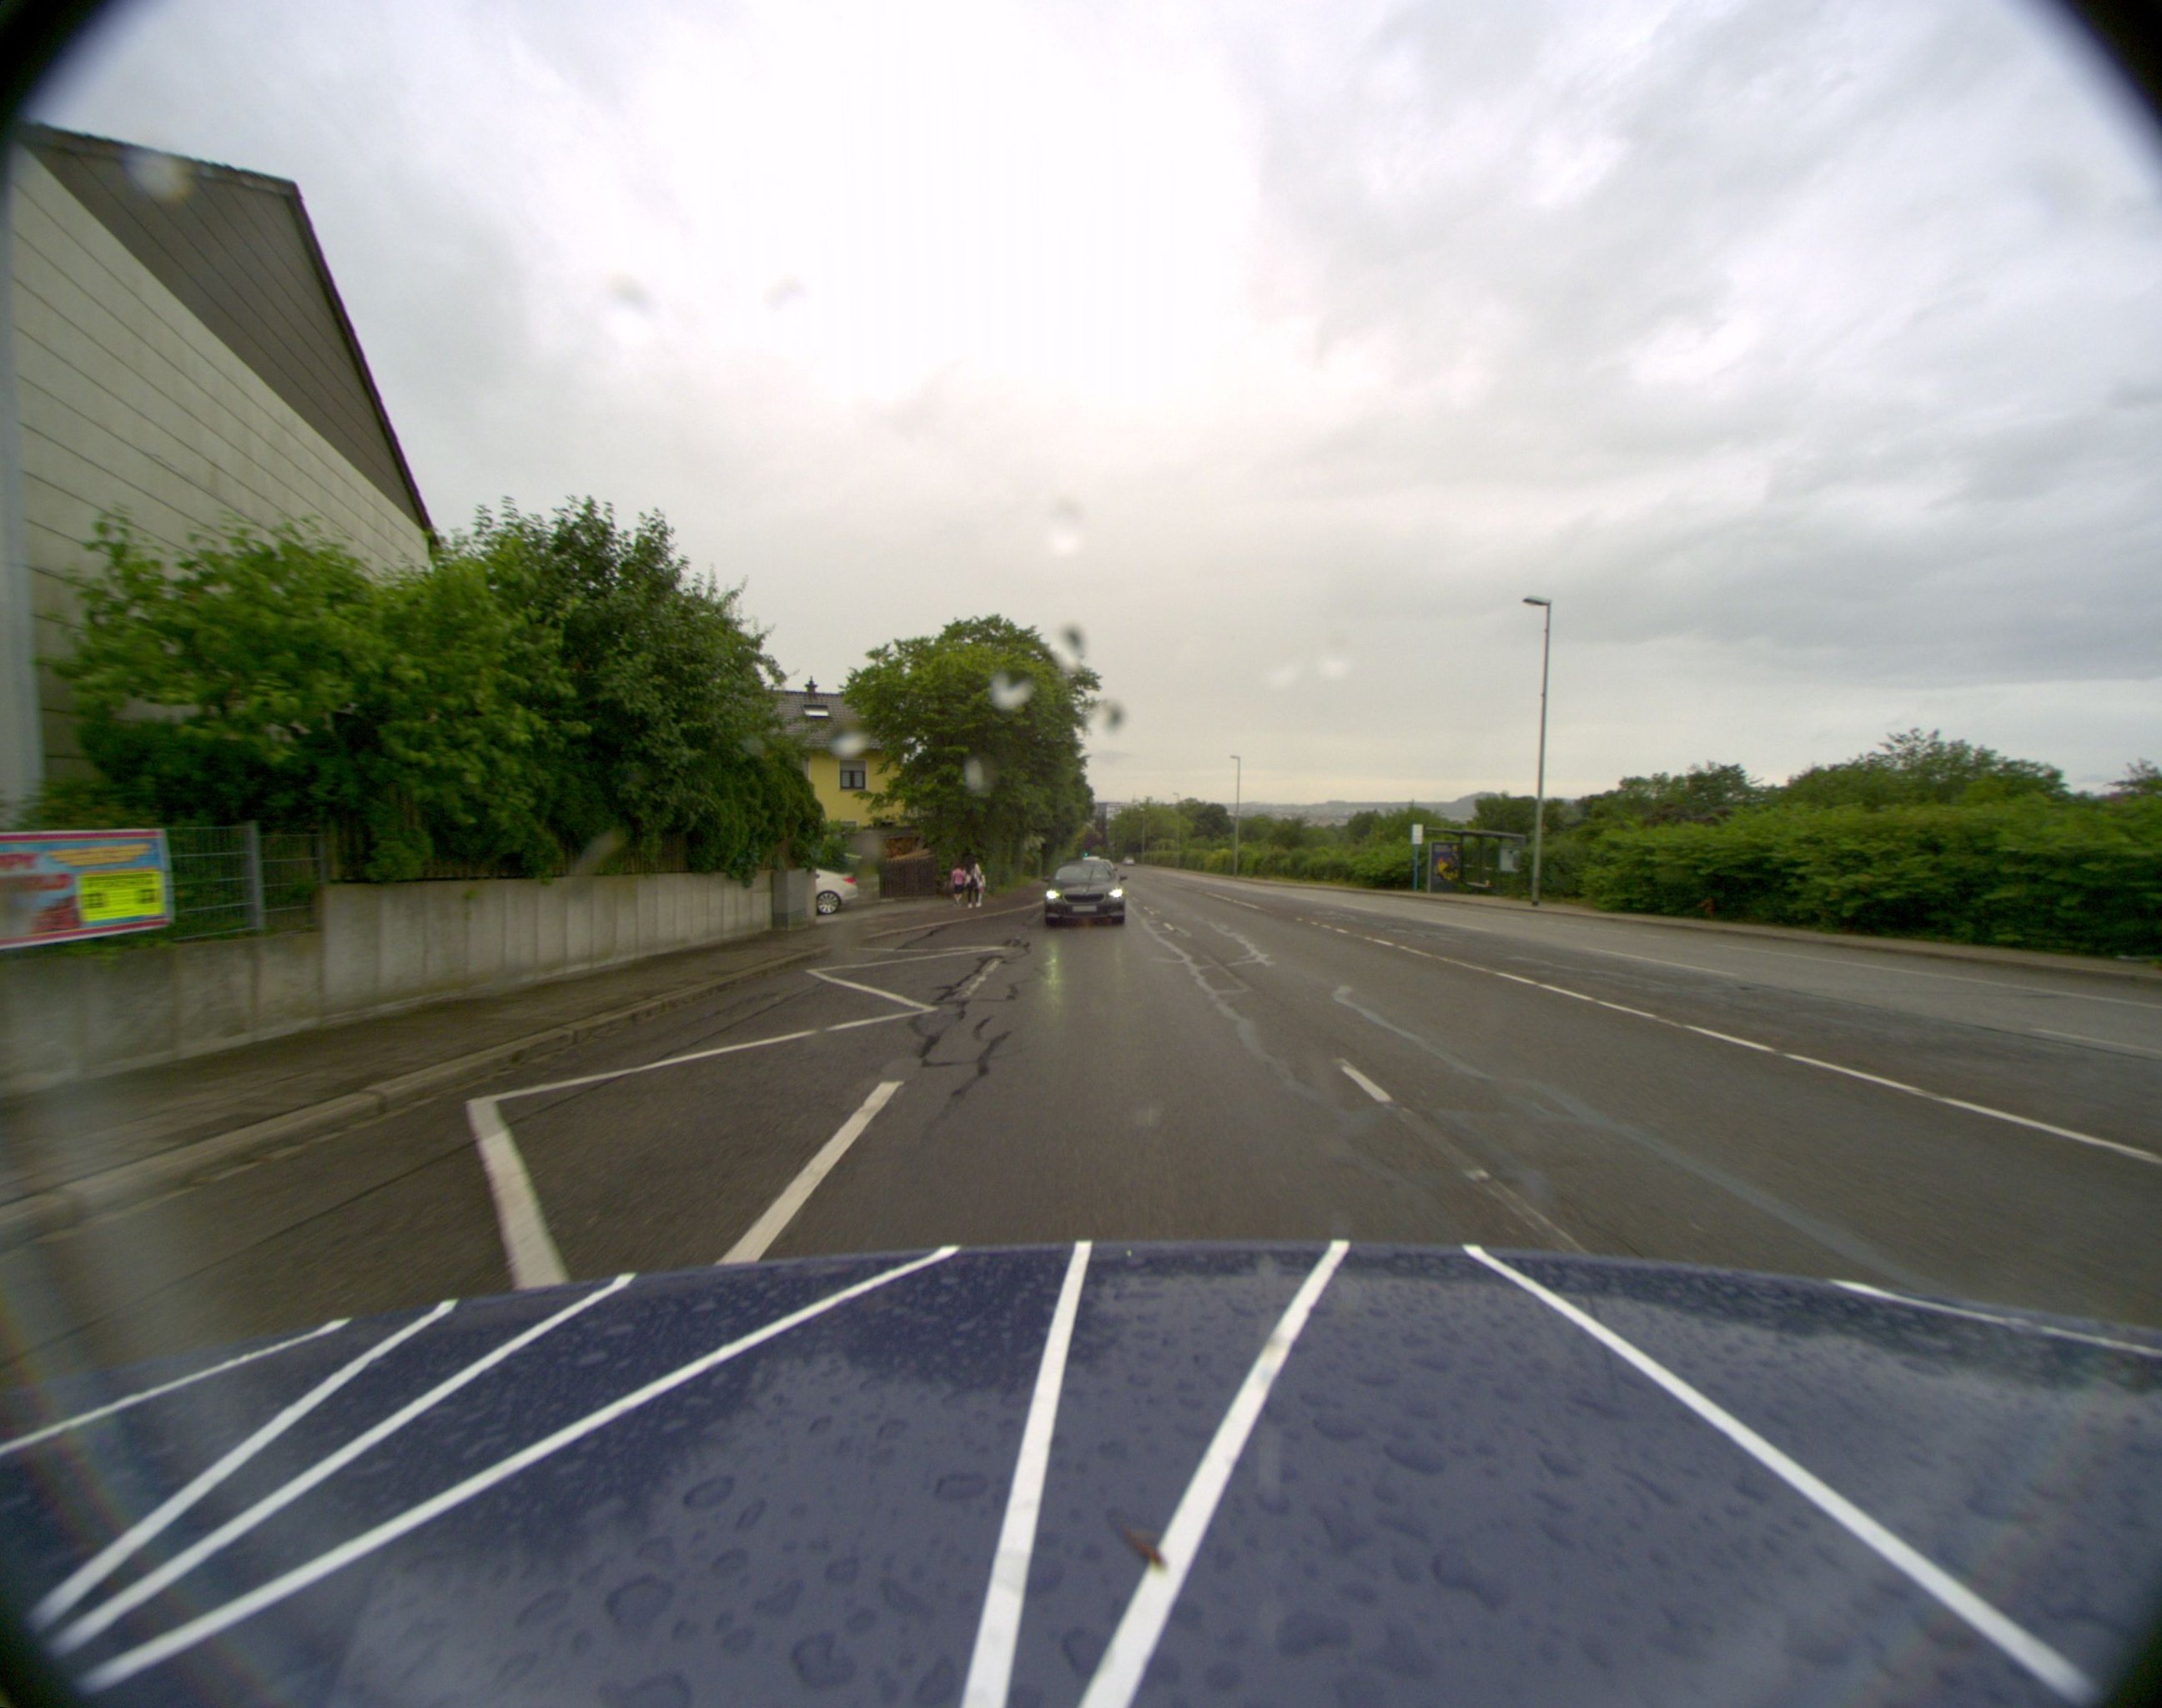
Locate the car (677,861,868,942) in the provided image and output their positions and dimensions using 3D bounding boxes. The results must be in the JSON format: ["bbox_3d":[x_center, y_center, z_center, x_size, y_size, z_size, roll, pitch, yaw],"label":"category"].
[{"bbox_3d":[-8.558,1.226,21.181,4.608,1.413,1.785,-9,5,-29],"label":"car"}]

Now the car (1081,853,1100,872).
[{"bbox_3d":[0.946,0.749,70.890,1.703,1.670,4.283,0,0,1],"label":"car"}]

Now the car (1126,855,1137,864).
[{"bbox_3d":[9.463,0.980,141.904,1.761,1.559,3.999,1,0,-1],"label":"car"}]

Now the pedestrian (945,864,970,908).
[{"bbox_3d":[-3.802,0.974,23.438,0.603,1.347,0.646,0,1,9],"label":"pedestrian"}]

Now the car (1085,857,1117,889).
[{"bbox_3d":[1.086,0.910,38.957,1.550,1.505,4.284,0,0,3],"label":"car"}]

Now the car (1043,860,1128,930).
[{"bbox_3d":[-0.001,0.929,19.162,1.846,1.371,4.281,-3,1,-3],"label":"car"}]

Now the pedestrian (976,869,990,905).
[{"bbox_3d":[-3.189,1.058,24.646,0.368,1.140,0.366,0,1,9],"label":"pedestrian"}]

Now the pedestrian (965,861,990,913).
[{"bbox_3d":[-3.183,1.000,23.352,0.611,1.584,0.646,0,1,9],"label":"pedestrian"}]
